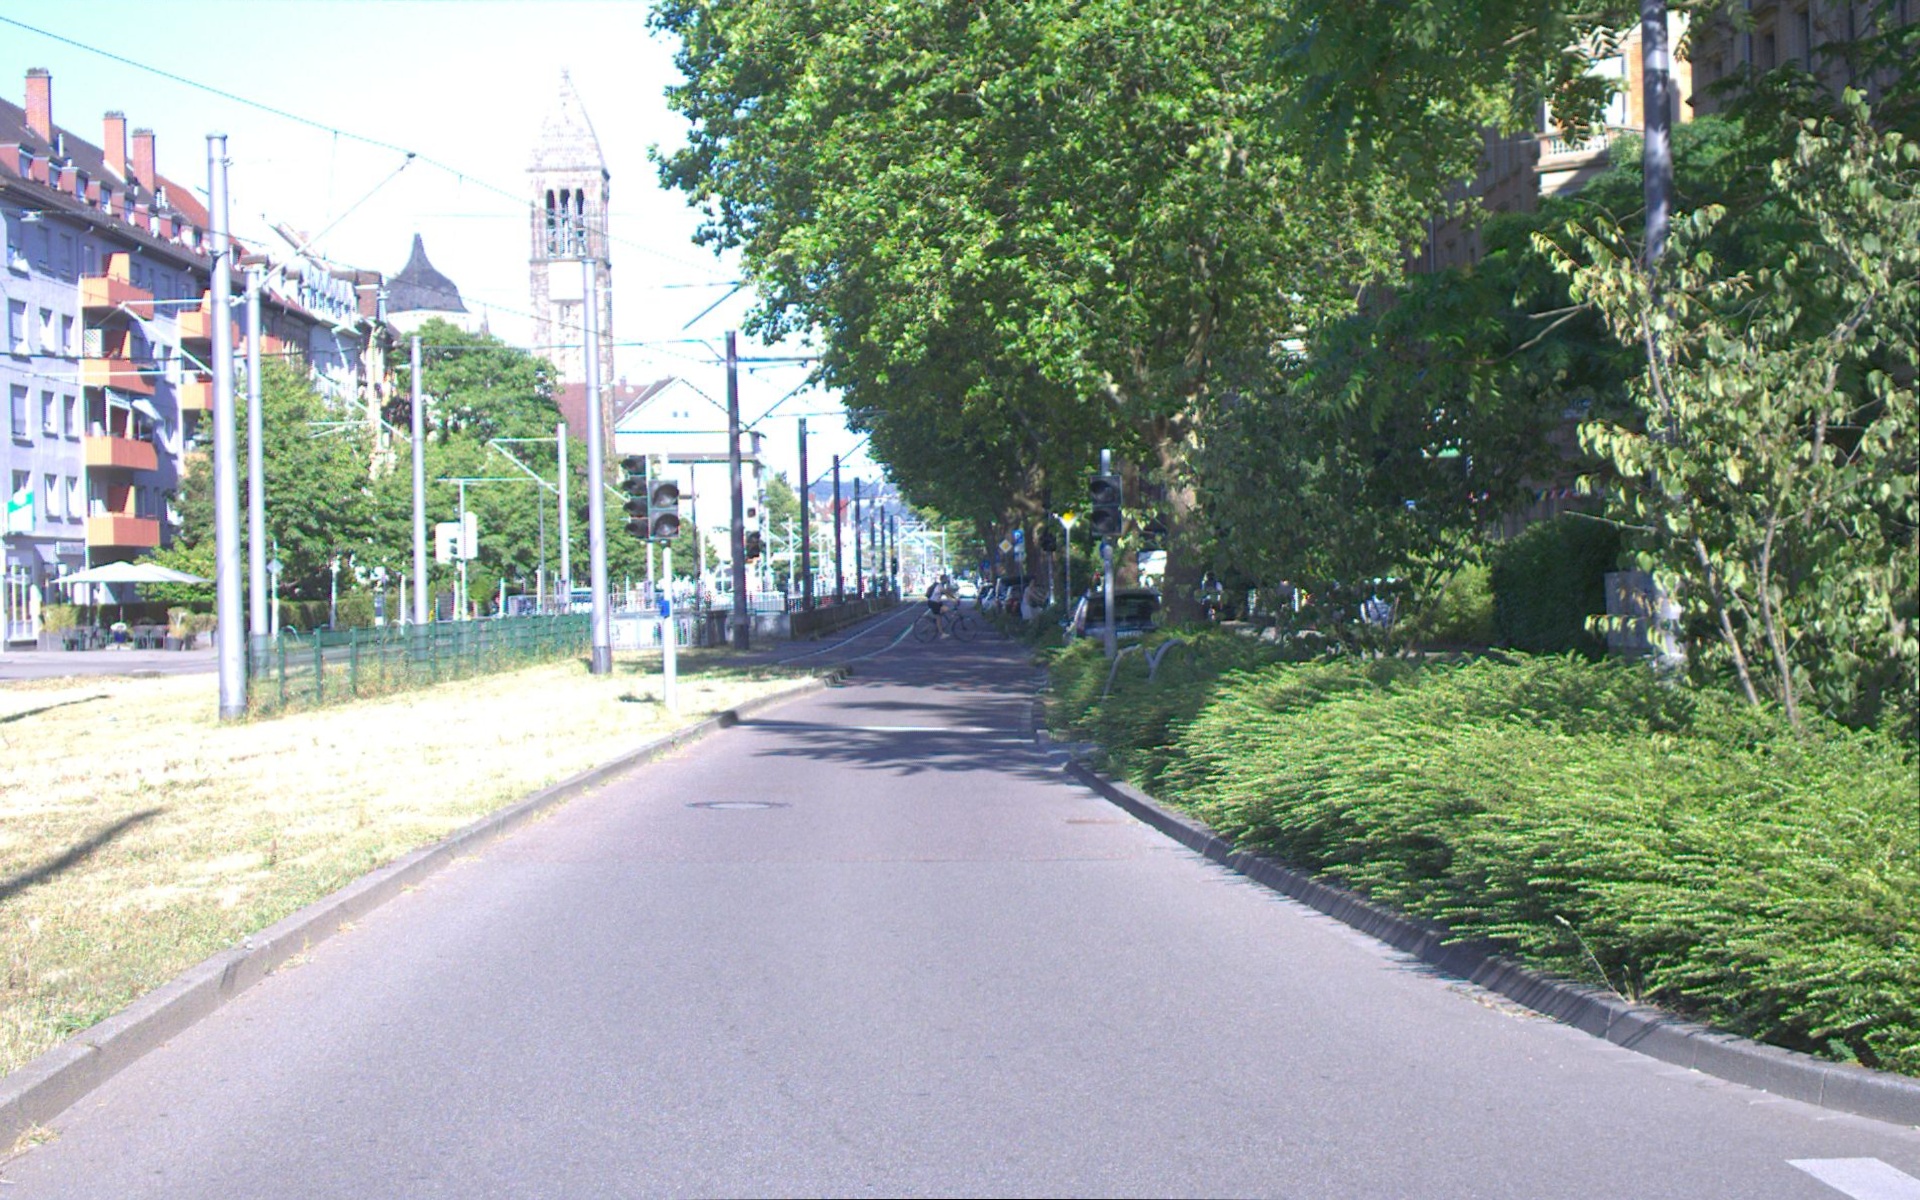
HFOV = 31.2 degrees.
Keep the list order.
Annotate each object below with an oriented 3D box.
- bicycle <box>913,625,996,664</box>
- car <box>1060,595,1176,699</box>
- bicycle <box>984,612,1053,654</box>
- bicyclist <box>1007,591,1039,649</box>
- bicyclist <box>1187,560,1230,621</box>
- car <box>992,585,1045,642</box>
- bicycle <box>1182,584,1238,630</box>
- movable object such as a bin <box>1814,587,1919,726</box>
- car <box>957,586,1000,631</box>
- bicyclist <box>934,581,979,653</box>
[{"bbox_3d":[-0.154,1.217,94.774,2.241,0.972,0.682,-2,3,0],"label":"bicycle"},{"bbox_3d":[2.490,0.721,54.967,1.643,1.506,4.182,-2,0,1],"label":"car"},{"bbox_3d":[1.643,0.912,96.044,1.814,1.044,0.573,-3,3,-8],"label":"bicycle"},{"bbox_3d":[1.747,0.558,96.041,0.749,1.552,0.573,-3,3,-8],"label":"bicyclist"},{"bbox_3d":[5.939,-0.233,82.293,0.813,1.400,0.825,-3,3,-9],"label":"bicyclist"},{"bbox_3d":[2.220,0.536,132.016,1.993,2.100,4.000,0,-1,1],"label":"car"},{"bbox_3d":[5.977,0.158,82.305,0.813,0.954,2.318,-3,3,-9],"label":"bicycle"},{"bbox_3d":[9.767,0.579,36.084,1.232,1.378,1.257,-3,0,-1],"label":"movable object such as a bin"},{"bbox_3d":[0.905,0.430,164.573,1.993,2.100,4.000,0,-1,1],"label":"car"},{"bbox_3d":[-0.093,0.467,94.755,1.141,1.884,0.682,-2,3,0],"label":"bicyclist"}]
